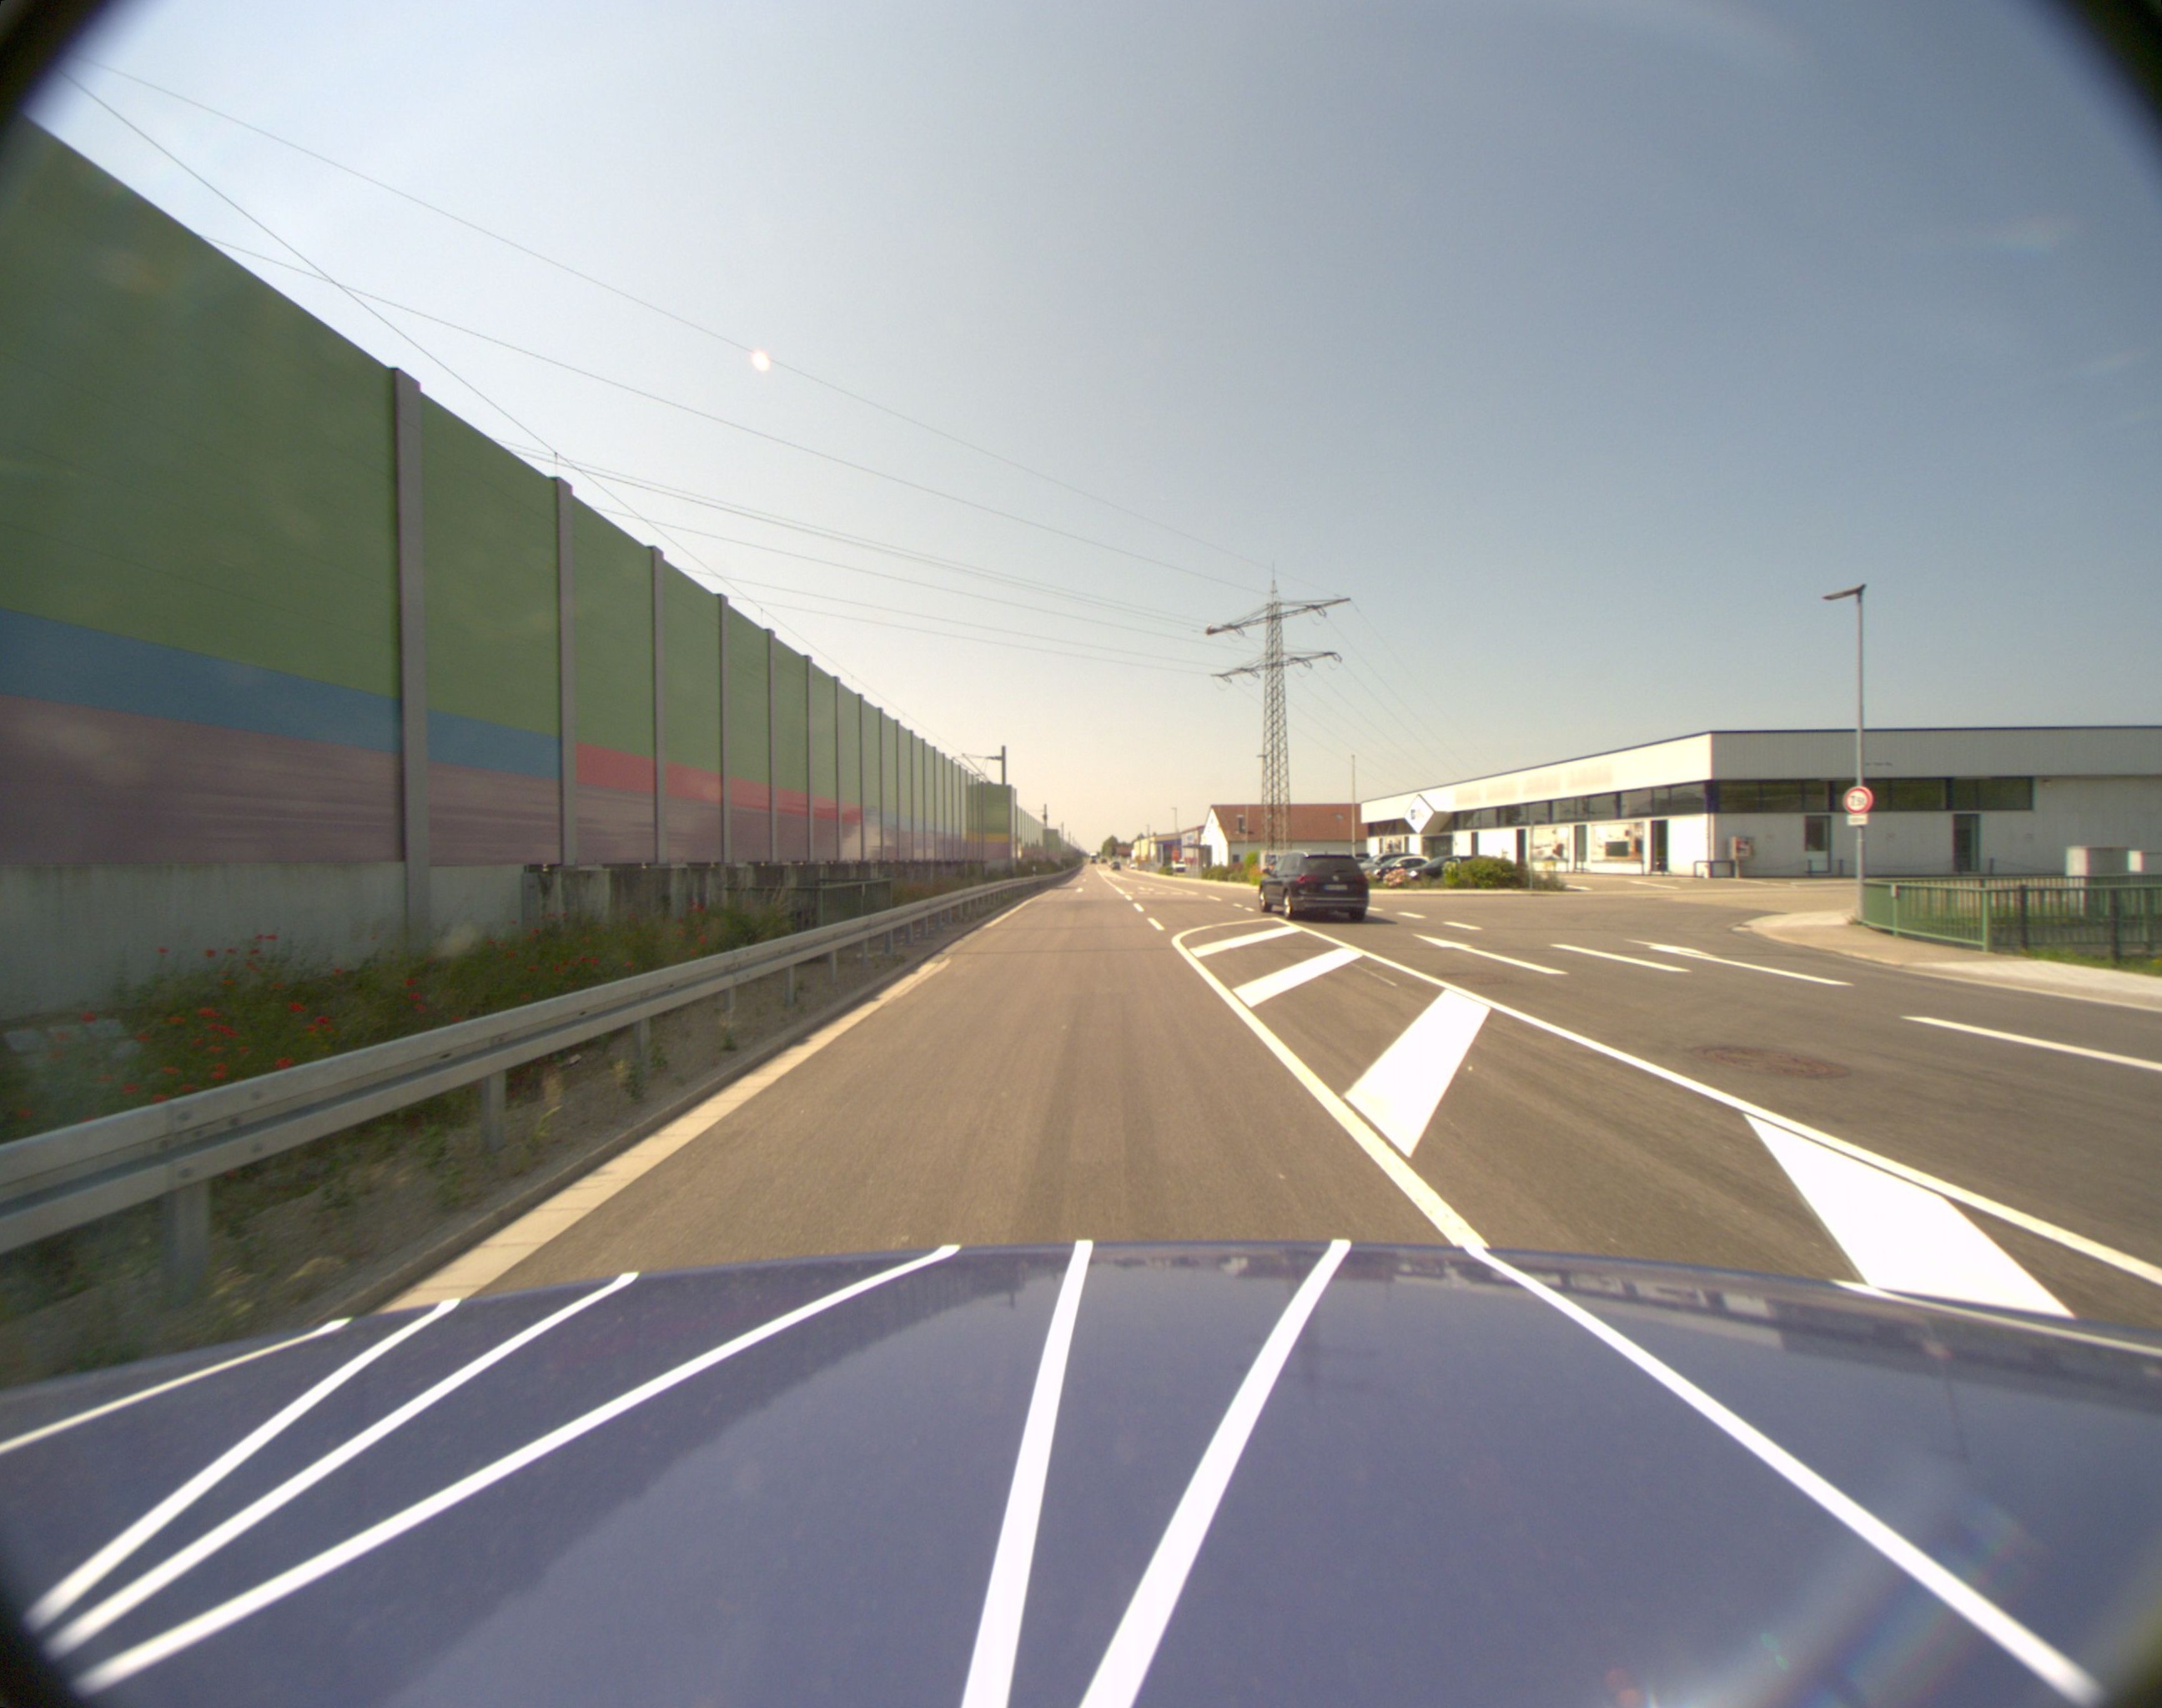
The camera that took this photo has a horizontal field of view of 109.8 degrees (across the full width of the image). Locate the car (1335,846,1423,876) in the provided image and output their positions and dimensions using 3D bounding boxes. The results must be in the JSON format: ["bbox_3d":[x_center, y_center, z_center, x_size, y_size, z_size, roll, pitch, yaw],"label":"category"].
[{"bbox_3d":[16.743,0.381,42.786,4.235,1.638,1.833,0,0,-3],"label":"car"}]

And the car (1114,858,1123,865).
[{"bbox_3d":[7.738,1.508,157.343,1.675,1.414,4.000,1,0,0],"label":"car"}]

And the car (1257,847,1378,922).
[{"bbox_3d":[5.758,0.696,19.080,1.882,1.663,4.292,0,0,3],"label":"car"}]

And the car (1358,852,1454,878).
[{"bbox_3d":[16.924,0.574,39.634,4.235,1.307,1.833,0,0,-3],"label":"car"}]

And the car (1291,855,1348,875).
[{"bbox_3d":[17.177,0.782,54.814,3.518,1.247,1.504,-3,0,-1],"label":"car"}]

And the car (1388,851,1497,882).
[{"bbox_3d":[16.886,0.581,35.595,4.235,1.386,1.833,0,0,-3],"label":"car"}]

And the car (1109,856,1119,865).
[{"bbox_3d":[7.660,1.451,176.079,1.998,1.863,5.169,0,0,0],"label":"car"}]

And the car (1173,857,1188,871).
[{"bbox_3d":[15.762,1.573,120.281,1.998,2.002,4.680,0,1,2],"label":"car"}]
